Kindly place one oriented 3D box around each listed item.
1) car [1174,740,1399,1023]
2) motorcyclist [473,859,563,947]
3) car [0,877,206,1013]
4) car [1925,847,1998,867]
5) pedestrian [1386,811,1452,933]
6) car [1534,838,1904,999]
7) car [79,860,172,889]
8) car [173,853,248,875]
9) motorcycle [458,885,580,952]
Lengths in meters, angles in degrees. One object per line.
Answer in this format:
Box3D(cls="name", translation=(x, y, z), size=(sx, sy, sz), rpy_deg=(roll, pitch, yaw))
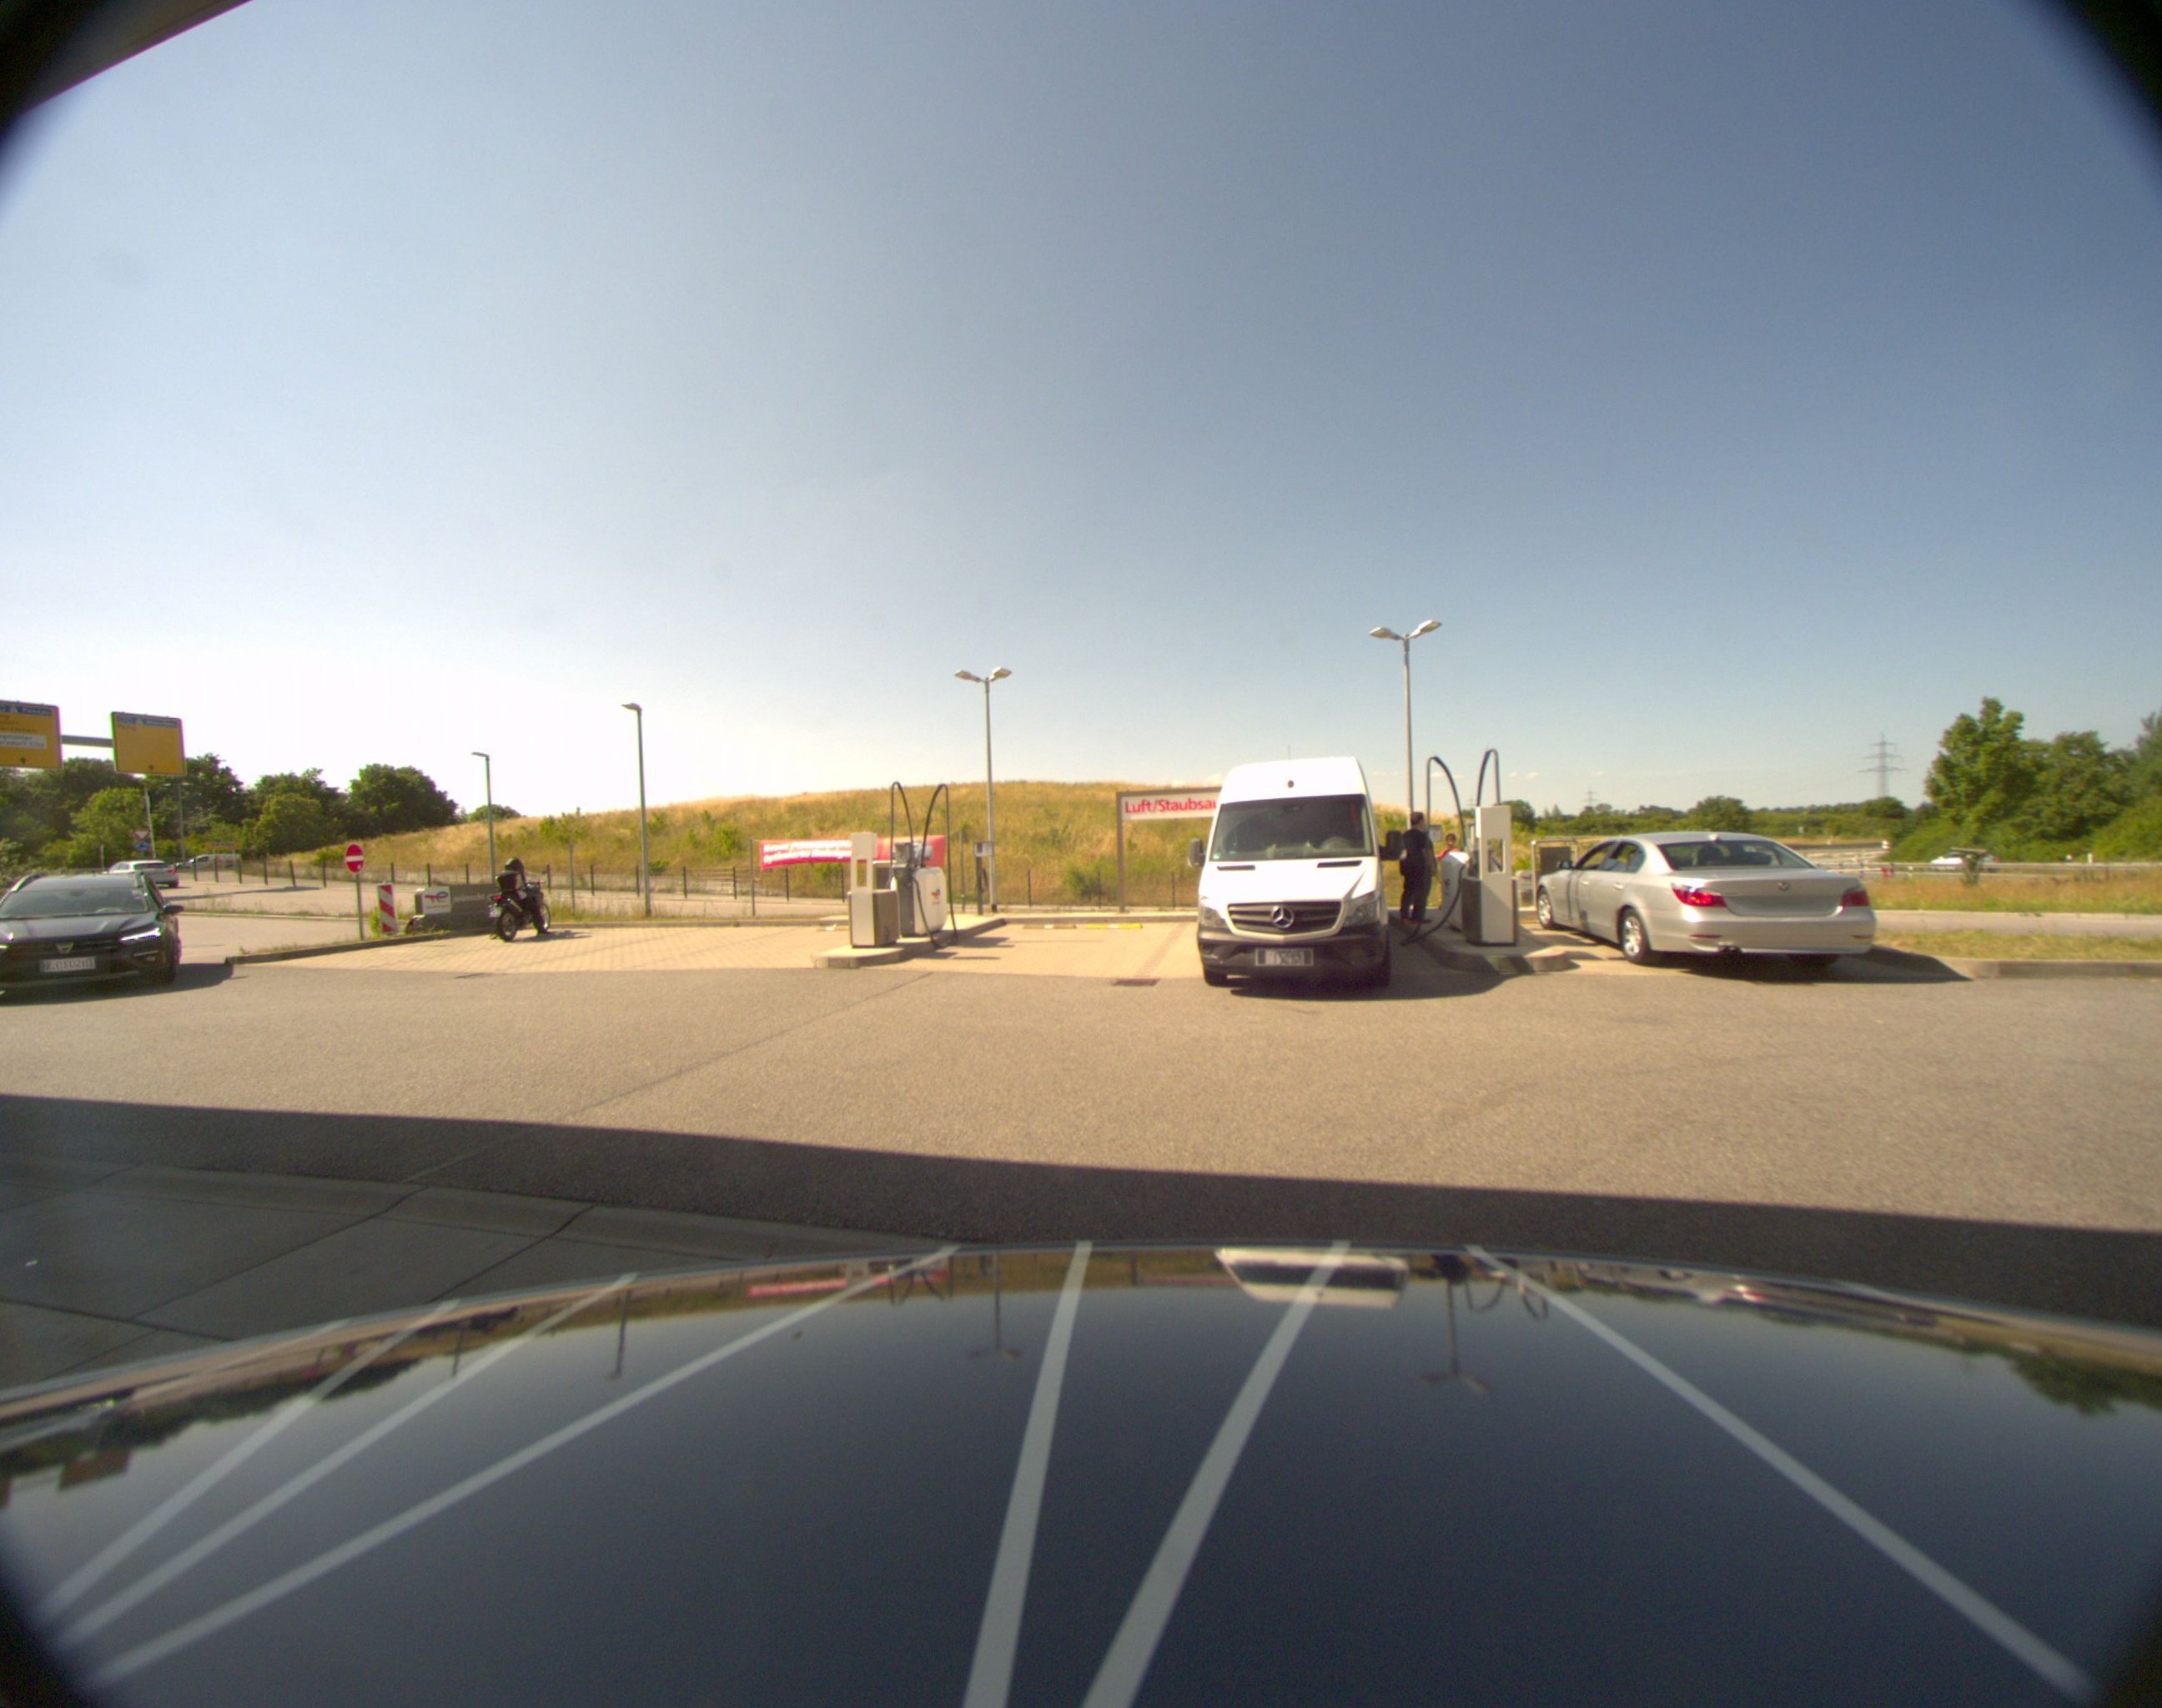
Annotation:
Box3D(cls="car", translation=(3.110, 0.085, 10.465), size=(1.995, 2.557, 7.037), rpy_deg=(-1, 3, 20))
Box3D(cls="motorcyclist", translation=(-11.496, 0.970, 15.570), size=(1.035, 1.678, 1.098), rpy_deg=(-2, 1, -11))
Box3D(cls="car", translation=(-14.996, 1.217, 11.605), size=(1.747, 1.635, 4.619), rpy_deg=(-3, 1, -45))
Box3D(cls="car", translation=(70.834, 0.206, 61.226), size=(1.893, 1.510, 4.004), rpy_deg=(-1, 0, 14))
Box3D(cls="pedestrian", translation=(5.099, 0.260, 11.462), size=(0.707, 1.759, 0.847), rpy_deg=(-1, 1, 36))
Box3D(cls="car", translation=(7.252, 0.579, 9.304), size=(1.790, 1.420, 4.325), rpy_deg=(-2, 2, 15))
Box3D(cls="car", translation=(-49.181, 1.028, 39.123), size=(4.086, 1.416, 1.709), rpy_deg=(0, 1, 20))
Box3D(cls="car", translation=(-86.650, 0.943, 75.704), size=(1.995, 2.002, 4.537), rpy_deg=(-1, 1, 30))
Box3D(cls="motorcycle", translation=(-11.519, 1.272, 15.715), size=(1.046, 1.100, 2.413), rpy_deg=(-2, 2, -11))
